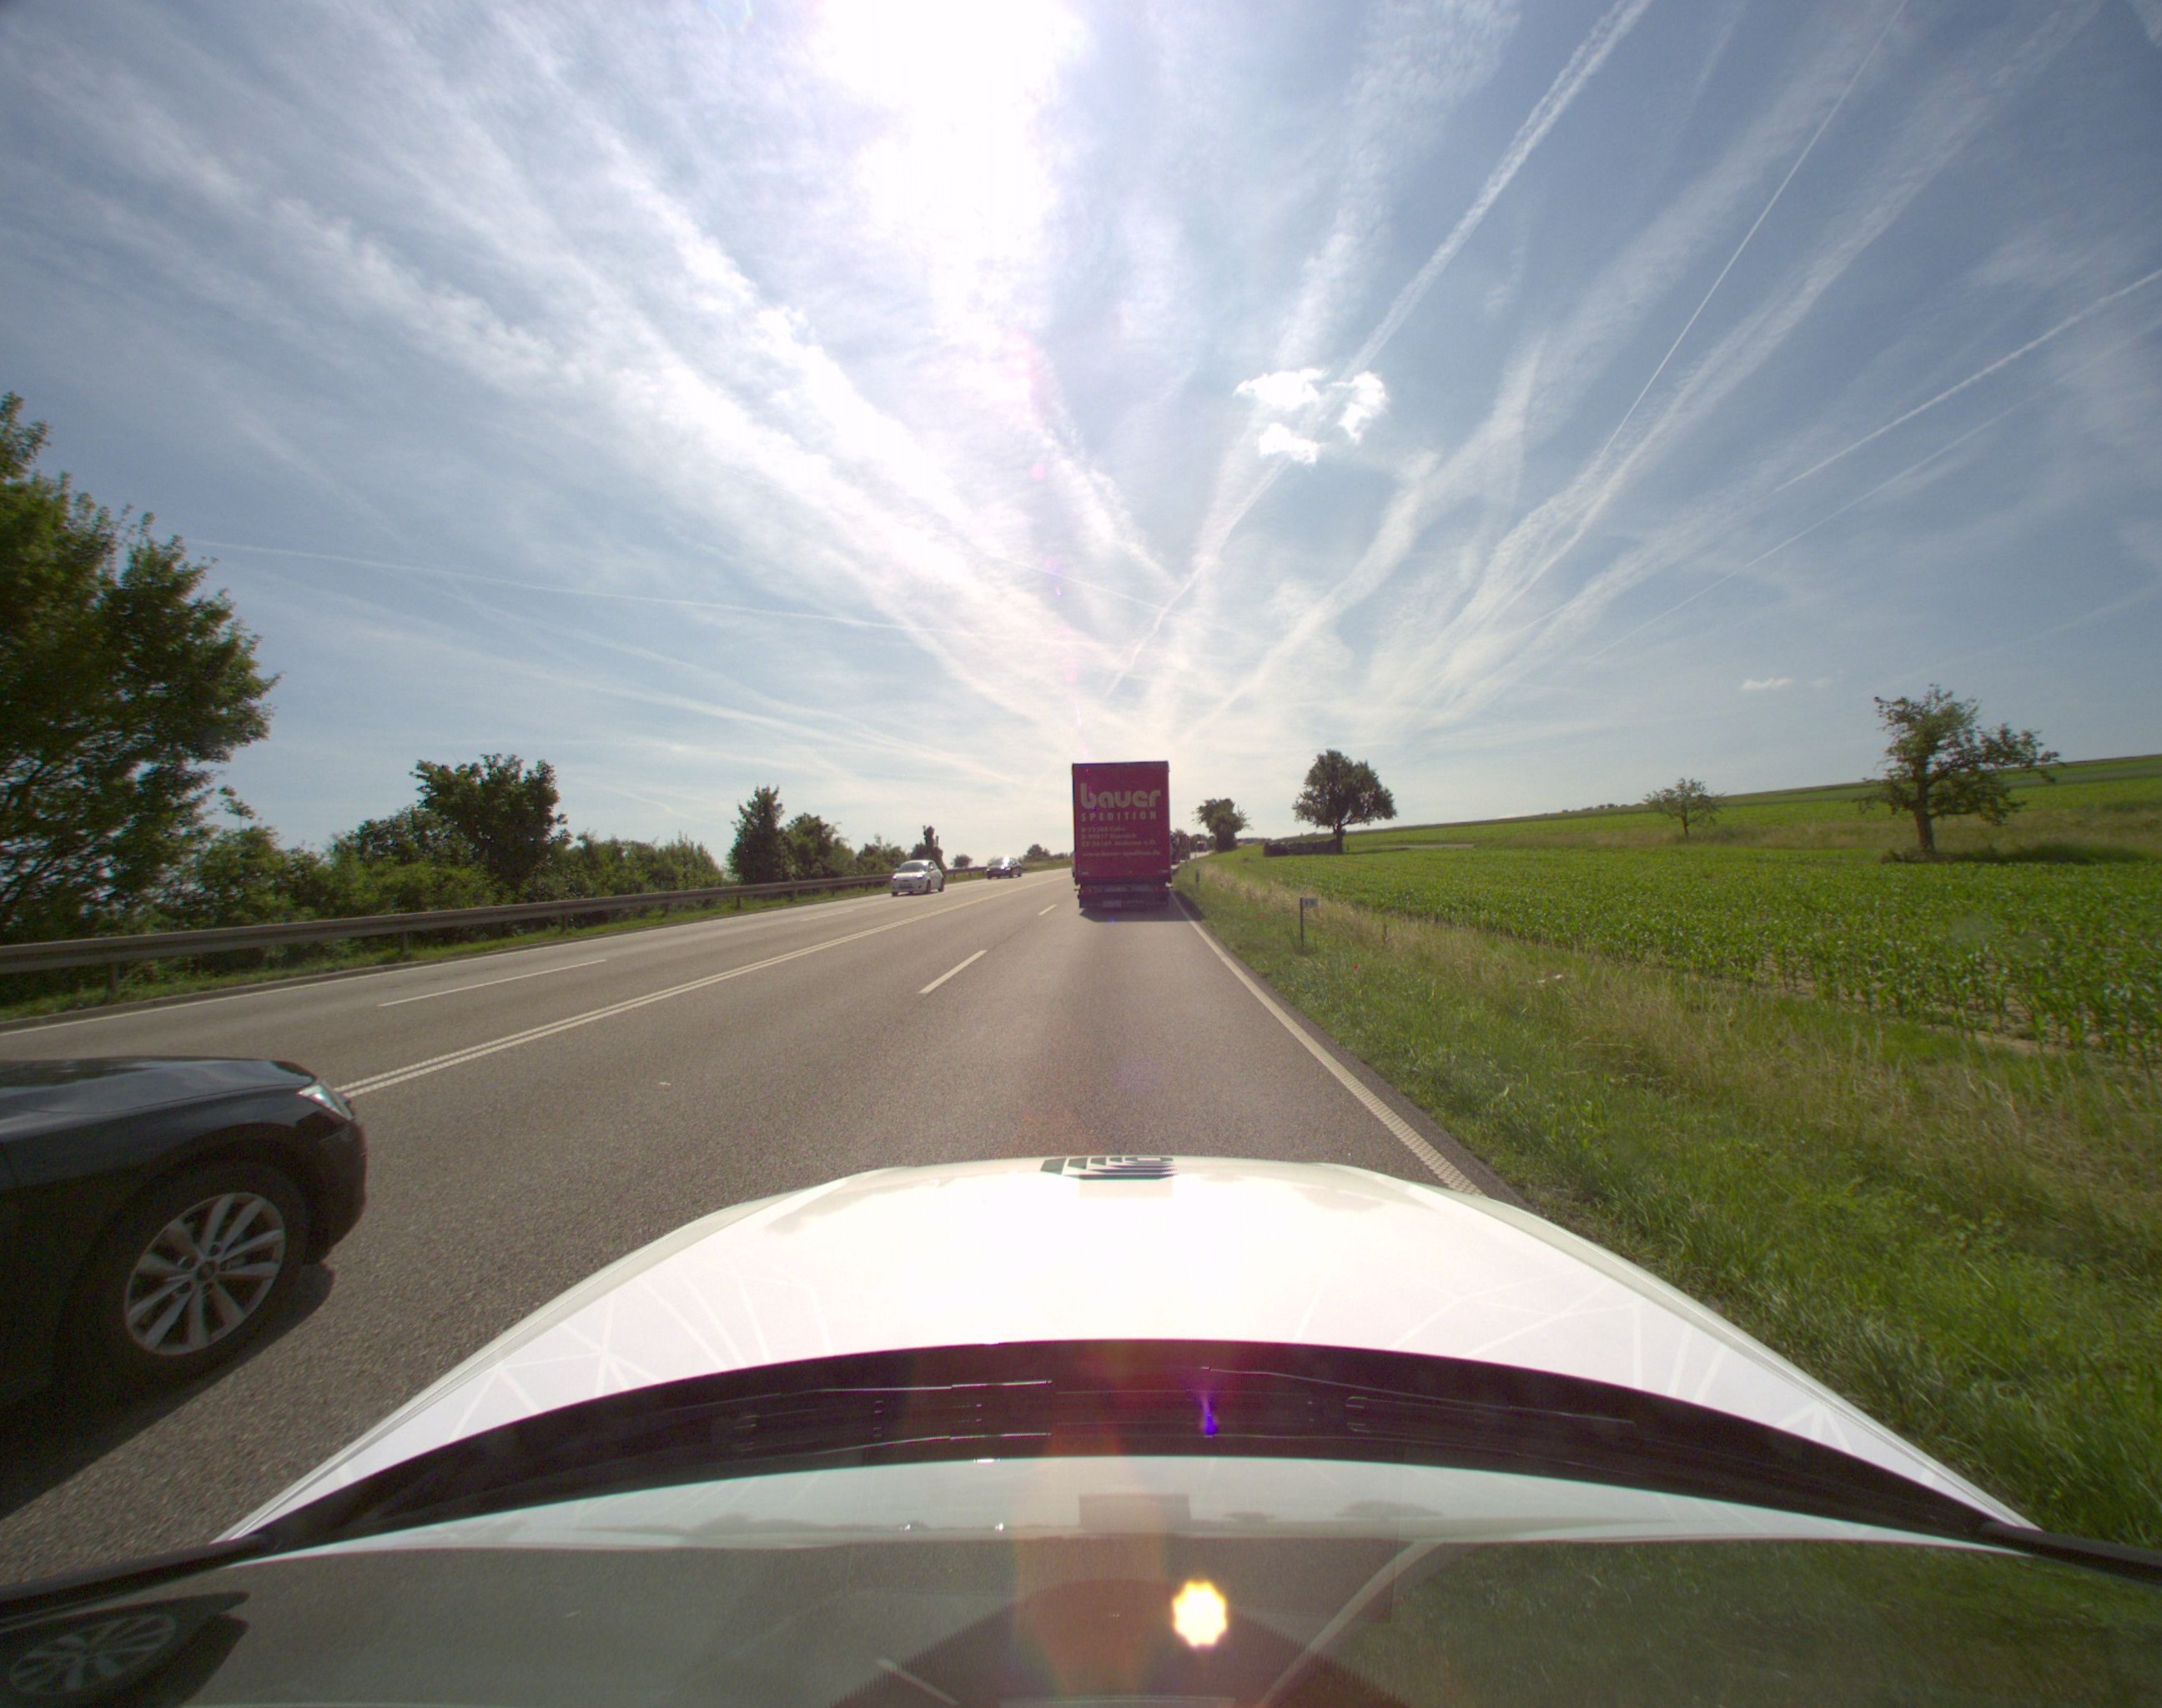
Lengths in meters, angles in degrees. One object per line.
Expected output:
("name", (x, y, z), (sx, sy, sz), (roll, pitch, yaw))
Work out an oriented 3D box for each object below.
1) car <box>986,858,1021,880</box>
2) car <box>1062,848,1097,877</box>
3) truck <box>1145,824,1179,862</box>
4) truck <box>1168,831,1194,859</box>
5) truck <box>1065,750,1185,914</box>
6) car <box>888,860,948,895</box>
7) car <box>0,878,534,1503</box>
("car", (-5.663, 1.053, 59.833), (1.828, 1.455, 4.330), (-3, 0, 3))
("car", (-0.035, 0.586, 56.522), (1.896, 1.884, 5.438), (-2, 0, 5))
("truck", (9.557, -1.216, 94.642), (3.029, 3.910, 15.653), (-2, 0, 8))
("truck", (15.876, -1.343, 128.203), (3.028, 3.910, 18.449), (-2, 0, 10))
("truck", (1.554, -0.569, 29.340), (2.995, 4.180, 16.726), (-1, 0, 3))
("car", (-7.396, 1.037, 37.250), (1.649, 1.457, 3.739), (-2, 0, 5))
("car", (-3.512, 0.861, 1.437), (1.699, 1.472, 4.813), (-1, 0, 2))
